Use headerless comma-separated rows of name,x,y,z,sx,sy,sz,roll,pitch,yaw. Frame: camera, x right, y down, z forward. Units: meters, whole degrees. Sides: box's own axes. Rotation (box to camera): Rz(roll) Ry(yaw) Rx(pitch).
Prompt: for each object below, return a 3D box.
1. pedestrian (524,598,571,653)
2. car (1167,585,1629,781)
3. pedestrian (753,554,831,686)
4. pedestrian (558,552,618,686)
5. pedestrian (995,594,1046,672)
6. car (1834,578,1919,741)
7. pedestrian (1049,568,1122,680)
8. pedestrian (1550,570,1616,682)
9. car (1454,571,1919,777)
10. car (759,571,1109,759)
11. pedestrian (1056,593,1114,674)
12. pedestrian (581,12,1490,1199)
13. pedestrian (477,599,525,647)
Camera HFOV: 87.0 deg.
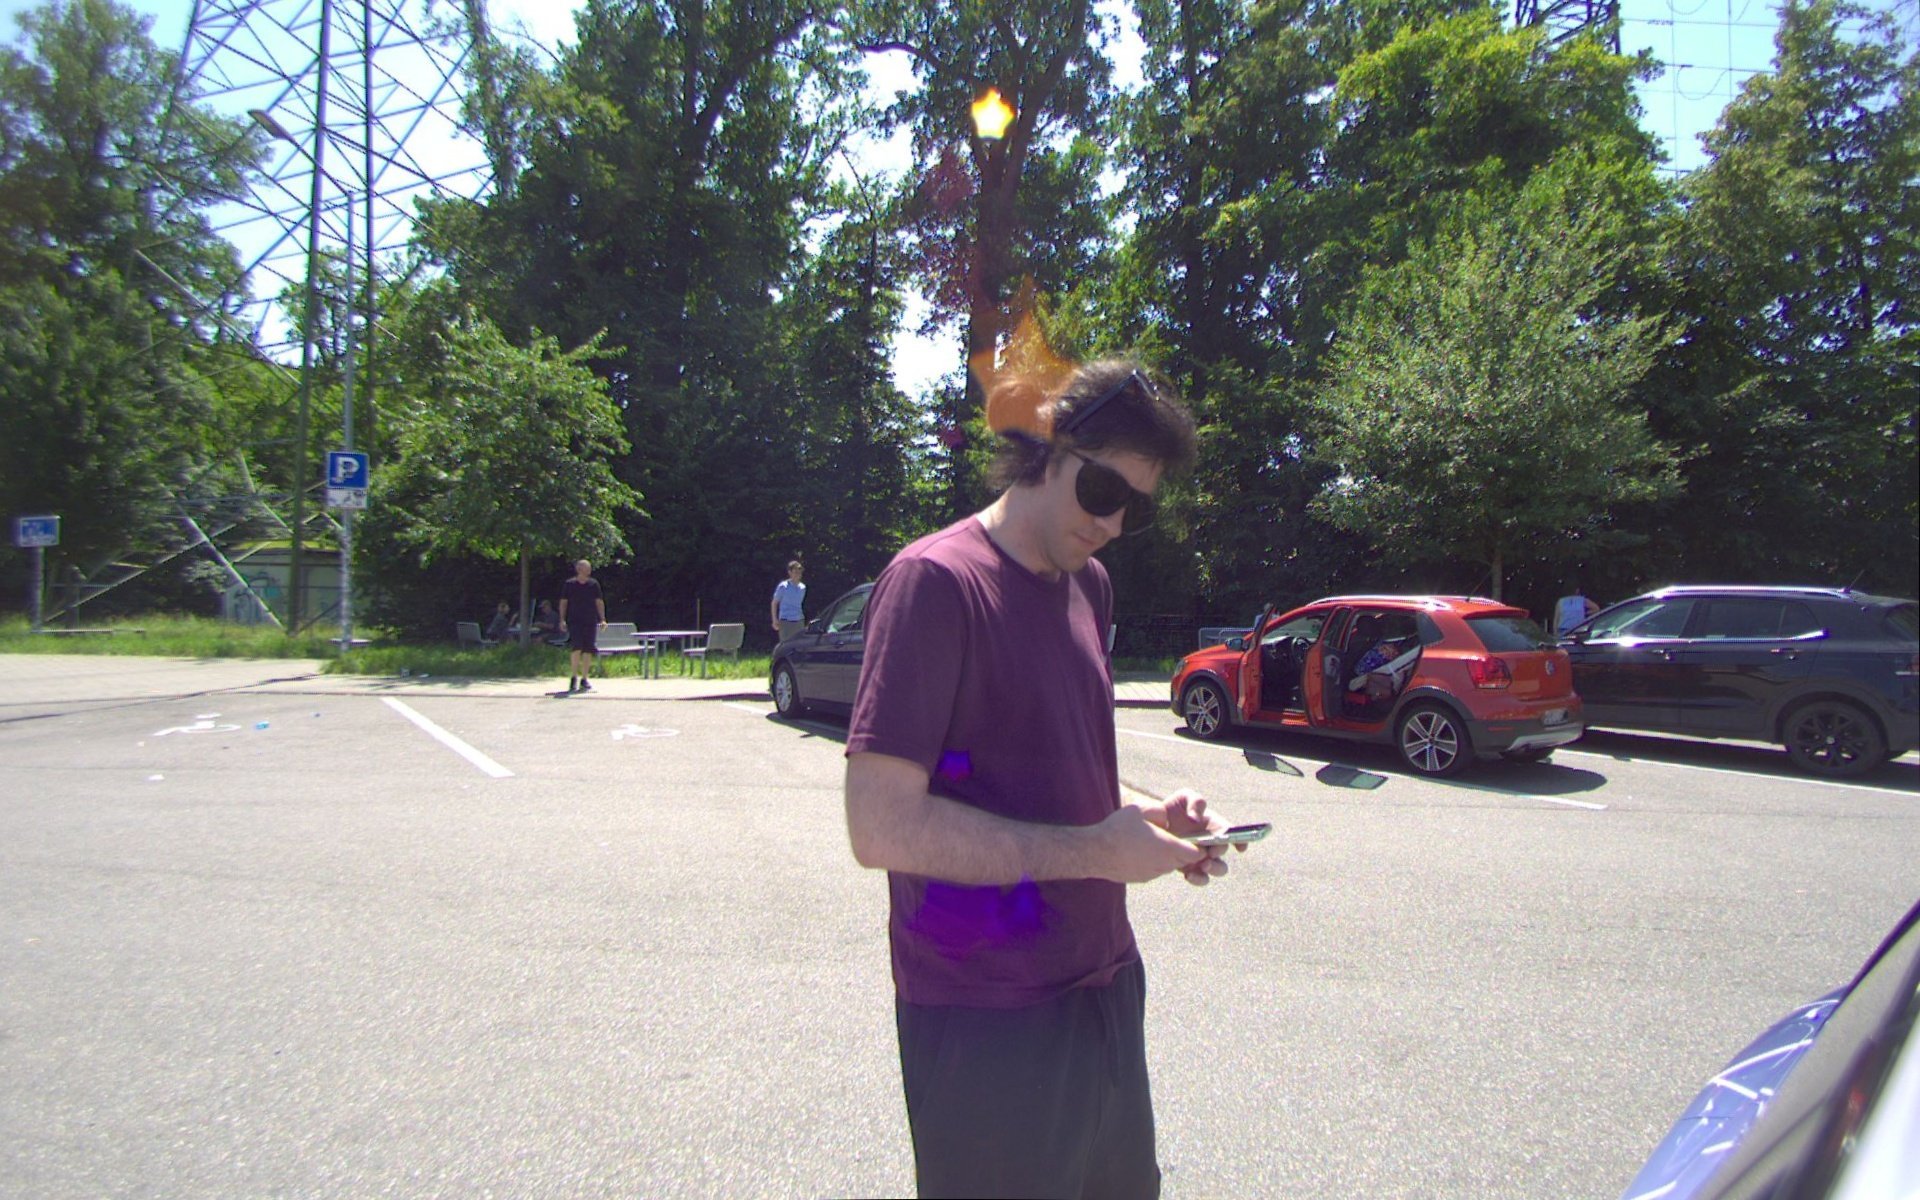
pedestrian,-9.604,0.580,23.580,0.796,1.253,0.713,1,-1,-44
car,3.943,0.623,9.663,1.746,1.475,3.710,1,0,-33
pedestrian,-2.372,0.274,14.279,0.786,1.784,0.809,1,-1,-39
pedestrian,-5.332,0.265,14.482,0.700,1.851,0.906,1,-1,-26
pedestrian,1.013,0.541,17.025,0.656,1.285,0.655,1,-1,-17
car,10.946,0.602,9.398,1.745,1.612,3.972,1,0,-32
pedestrian,1.868,0.344,15.117,0.792,1.614,0.777,1,-1,-22
pedestrian,9.344,0.375,15.171,0.712,1.614,0.797,0,-1,42
car,7.217,0.578,9.844,1.807,1.612,3.967,1,0,-38
car,-0.467,0.545,10.712,1.809,1.588,4.017,1,0,-35
pedestrian,2.082,0.549,16.875,0.656,1.311,0.832,1,-1,-17
pedestrian,0.119,0.459,1.374,0.828,1.797,0.926,0,-1,45
pedestrian,-10.347,0.508,22.820,0.796,1.062,0.714,1,-1,-43
